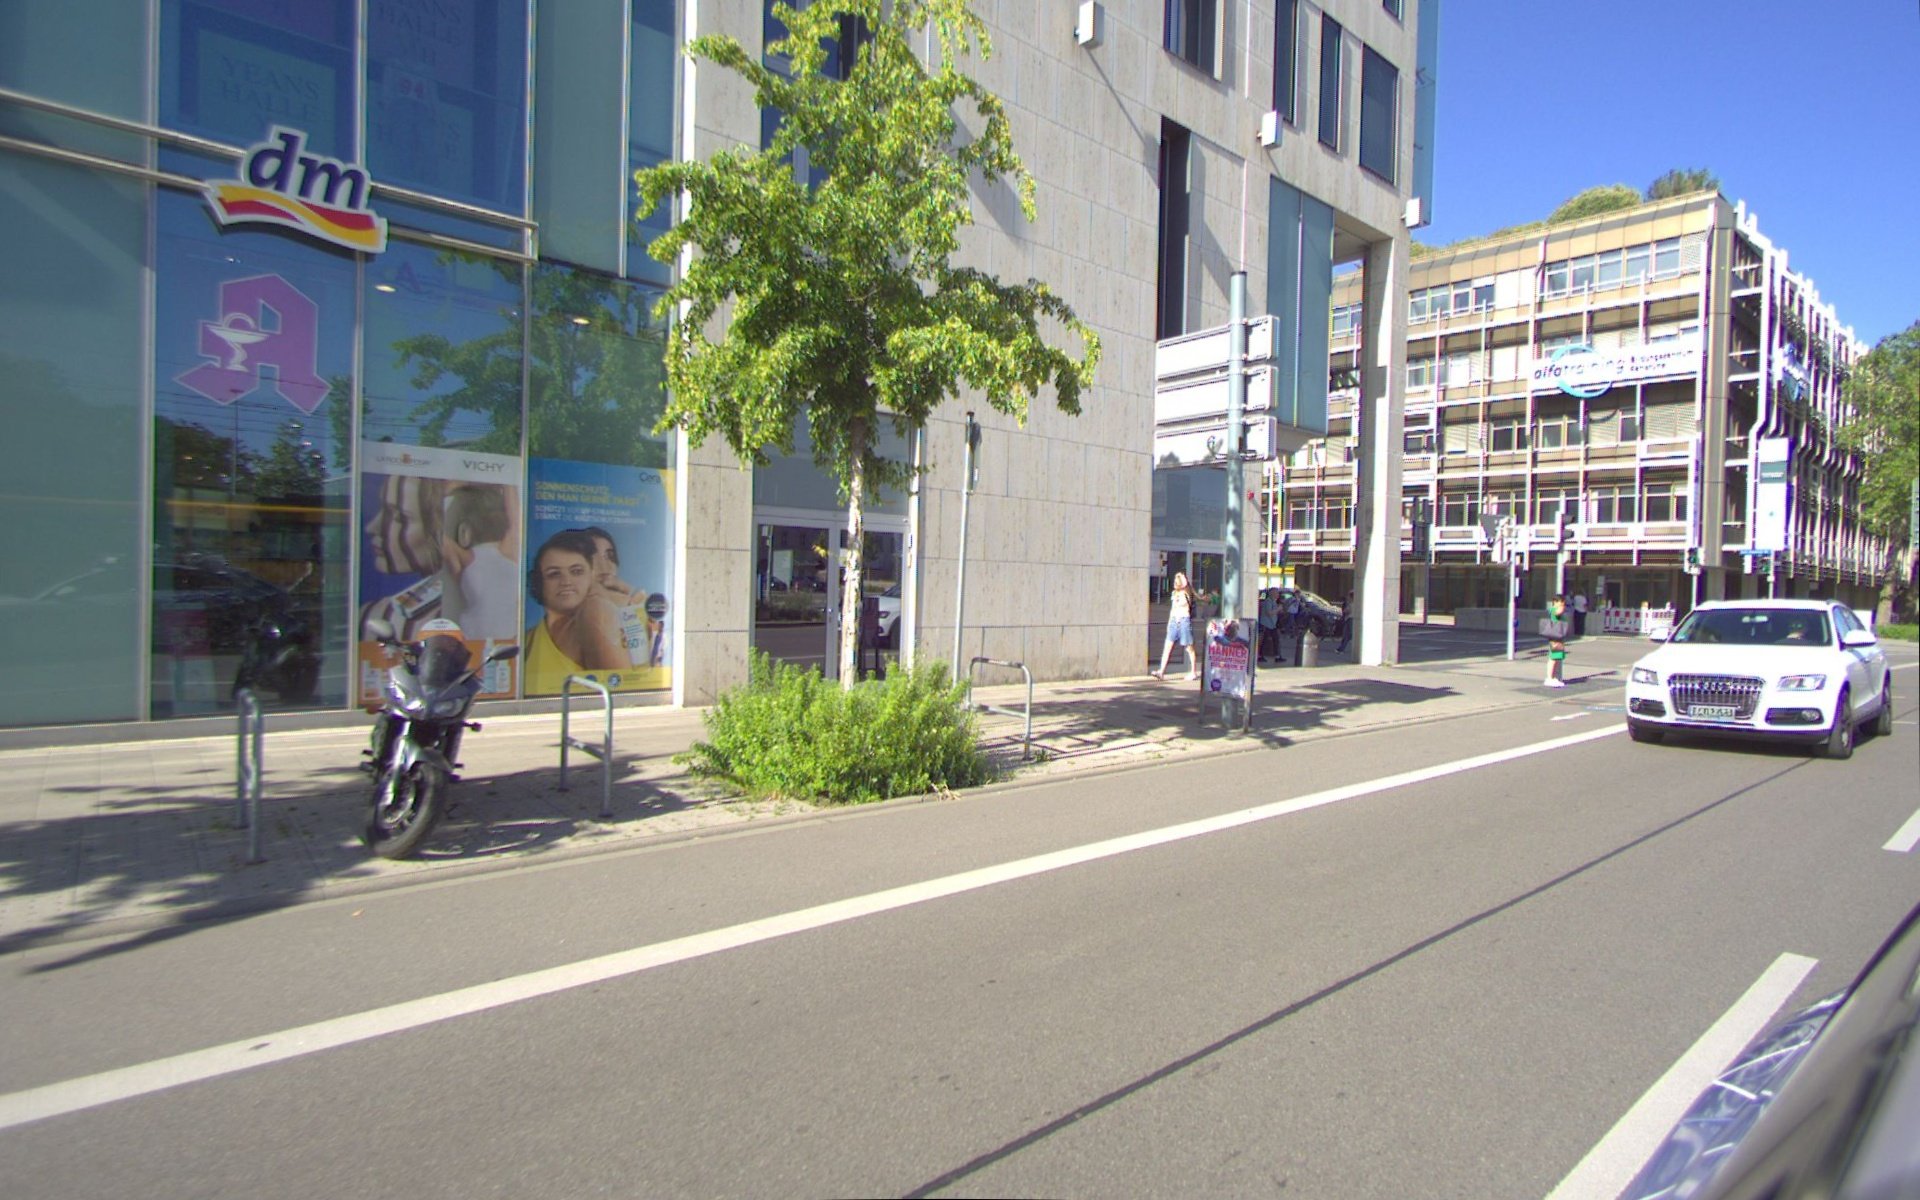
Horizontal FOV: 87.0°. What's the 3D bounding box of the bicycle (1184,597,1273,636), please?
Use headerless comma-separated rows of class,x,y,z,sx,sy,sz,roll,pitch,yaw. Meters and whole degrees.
bicycle,8.124,0.487,30.522,2.937,1.107,1.069,1,1,-39

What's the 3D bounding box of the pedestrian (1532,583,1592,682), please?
pedestrian,10.982,0.585,18.469,0.686,1.723,0.658,1,3,-42

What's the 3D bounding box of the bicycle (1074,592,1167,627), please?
bicycle,5.523,0.328,34.594,3.433,1.107,1.069,1,1,-38

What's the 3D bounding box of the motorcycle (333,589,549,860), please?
motorcycle,-3.381,0.647,6.457,0.886,1.340,2.196,1,2,-36

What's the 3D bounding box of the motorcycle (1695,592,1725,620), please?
motorcycle,41.159,0.318,55.510,2.084,1.459,0.825,1,1,-40

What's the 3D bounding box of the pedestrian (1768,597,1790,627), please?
pedestrian,45.790,0.652,56.601,0.991,1.620,0.668,1,3,-40

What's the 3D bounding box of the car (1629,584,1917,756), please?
car,9.518,0.668,11.726,4.334,1.634,1.823,0,0,-40

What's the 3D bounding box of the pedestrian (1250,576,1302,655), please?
pedestrian,6.685,0.325,21.415,0.736,1.628,0.725,2,0,-39

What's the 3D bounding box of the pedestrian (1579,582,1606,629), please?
pedestrian,22.765,0.198,36.420,0.659,1.632,0.519,4,3,41

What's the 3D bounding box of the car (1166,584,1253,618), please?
car,13.412,0.031,54.612,1.758,1.721,4.408,1,1,-39

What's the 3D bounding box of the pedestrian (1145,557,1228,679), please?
pedestrian,3.588,0.266,16.022,1.047,1.823,0.729,1,3,-41

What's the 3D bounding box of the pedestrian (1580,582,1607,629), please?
pedestrian,22.445,0.192,35.853,0.659,1.632,0.519,4,3,41

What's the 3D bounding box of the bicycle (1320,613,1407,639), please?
bicycle,12.148,0.769,30.538,1.052,0.679,2.200,1,1,-36

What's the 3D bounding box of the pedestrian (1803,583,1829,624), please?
pedestrian,43.510,0.168,51.431,0.946,2.039,1.063,2,0,42

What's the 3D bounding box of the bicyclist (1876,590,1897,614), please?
bicyclist,59.112,0.125,64.573,0.868,1.495,0.883,1,1,-40

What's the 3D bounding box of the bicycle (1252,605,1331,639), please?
bicycle,10.654,0.689,32.565,1.052,0.955,2.200,1,1,-36

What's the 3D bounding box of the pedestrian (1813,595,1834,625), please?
pedestrian,46.971,0.546,55.041,0.715,1.620,0.668,1,3,-40

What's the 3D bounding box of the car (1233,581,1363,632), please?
car,12.207,0.170,36.747,1.827,1.632,4.197,-1,3,-37

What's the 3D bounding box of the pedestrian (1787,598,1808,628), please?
pedestrian,46.342,0.712,56.013,0.715,1.620,0.668,1,3,-40

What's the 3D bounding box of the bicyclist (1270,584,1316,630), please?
bicyclist,10.694,0.221,32.532,1.056,1.413,0.936,1,1,-37

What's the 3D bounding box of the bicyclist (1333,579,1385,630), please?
bicyclist,12.079,0.123,30.628,1.052,1.494,1.025,1,1,-36

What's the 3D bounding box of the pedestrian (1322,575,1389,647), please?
pedestrian,10.493,0.280,26.841,1.496,1.823,0.969,1,3,-41

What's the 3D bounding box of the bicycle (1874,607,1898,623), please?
bicycle,59.124,0.962,64.609,2.015,0.997,0.883,1,1,-41

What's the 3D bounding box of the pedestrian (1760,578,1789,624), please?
pedestrian,36.722,0.049,45.648,0.945,2.039,1.064,2,1,39

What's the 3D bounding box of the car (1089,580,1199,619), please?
car,7.766,-0.056,43.138,1.827,1.438,4.618,-1,3,-37

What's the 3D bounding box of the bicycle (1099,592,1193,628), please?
bicycle,6.215,0.332,33.653,3.434,1.107,1.069,1,1,-39
